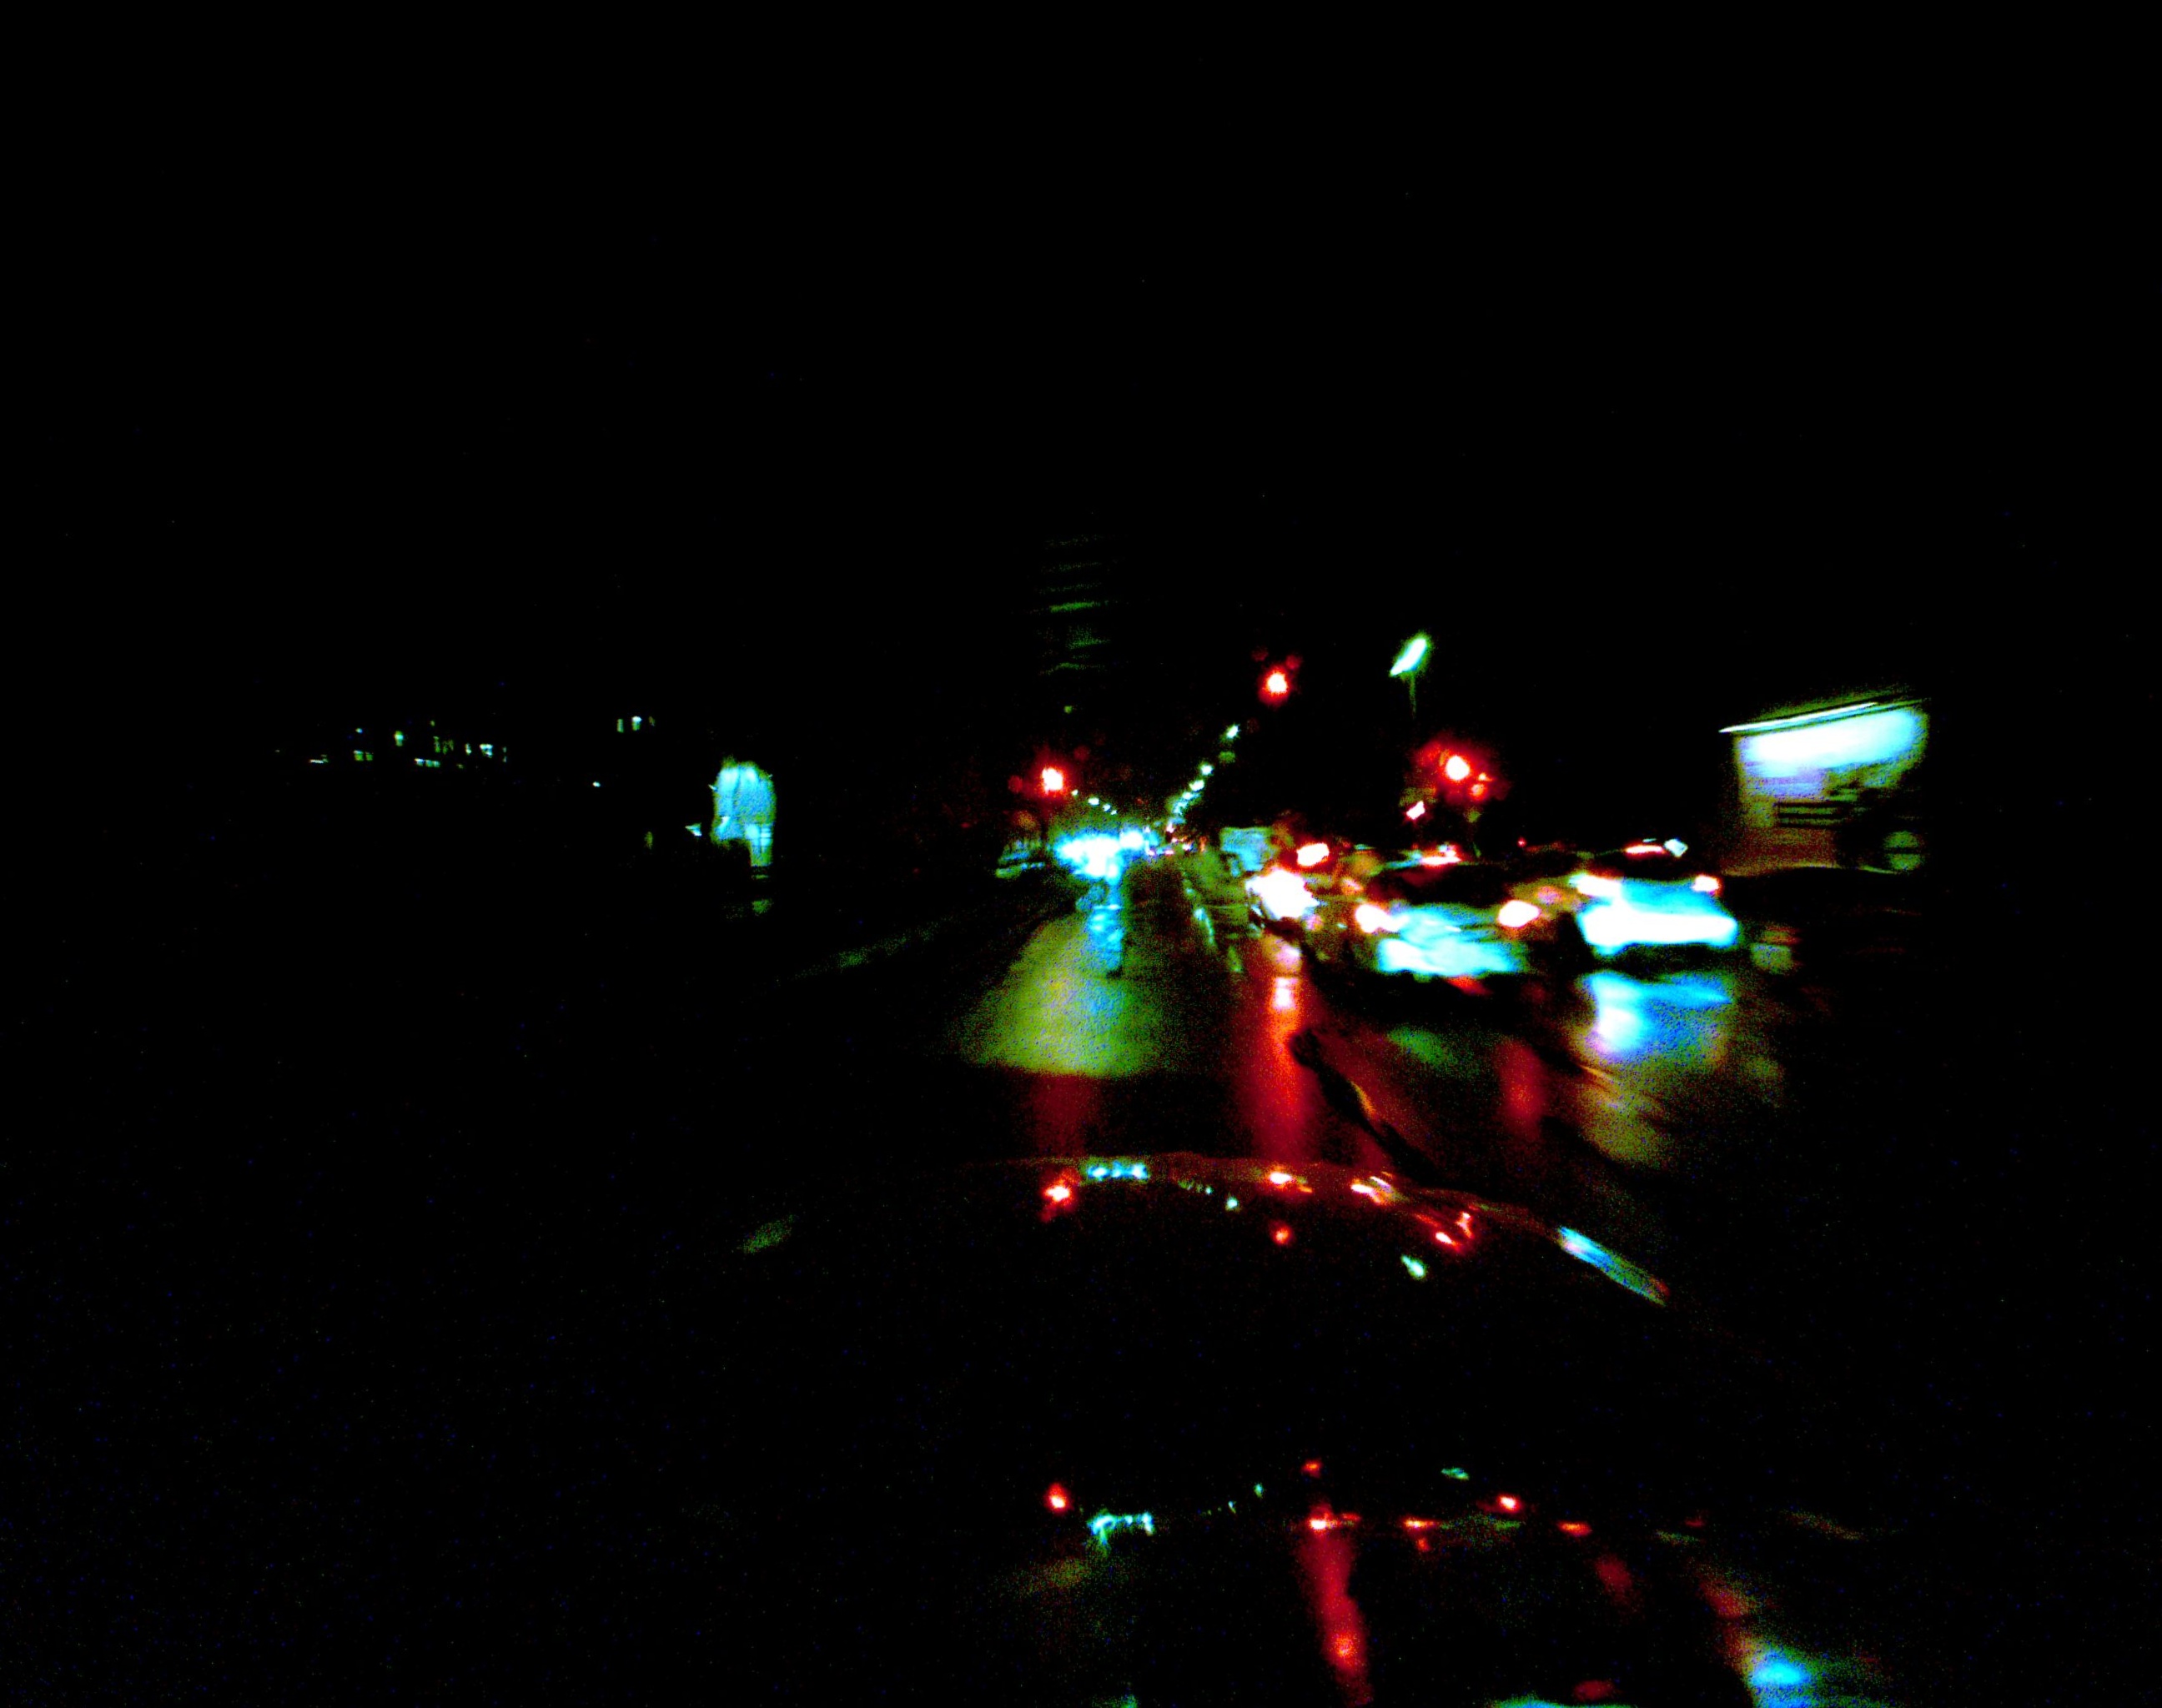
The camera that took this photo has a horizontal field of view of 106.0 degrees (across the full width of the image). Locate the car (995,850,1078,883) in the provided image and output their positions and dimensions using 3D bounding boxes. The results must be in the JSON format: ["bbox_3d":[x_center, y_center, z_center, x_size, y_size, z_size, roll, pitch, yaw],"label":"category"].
[{"bbox_3d":[-2.445,0.668,43.856,4.371,1.649,1.848,-1,0,40],"label":"car"}]

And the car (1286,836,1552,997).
[{"bbox_3d":[3.619,0.568,9.566,1.711,1.446,4.169,-2,0,5],"label":"car"}]

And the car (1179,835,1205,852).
[{"bbox_3d":[10.502,-0.965,77.135,2.082,1.545,4.311,-1,0,3],"label":"car"}]

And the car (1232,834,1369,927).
[{"bbox_3d":[4.024,0.425,15.621,1.712,1.446,4.389,-3,0,5],"label":"car"}]

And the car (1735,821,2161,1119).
[{"bbox_3d":[6.343,0.559,4.611,1.712,1.487,4.793,-2,0,5],"label":"car"}]

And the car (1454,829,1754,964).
[{"bbox_3d":[6.851,0.473,11.284,1.712,1.446,4.168,-3,0,5],"label":"car"}]

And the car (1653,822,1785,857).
[{"bbox_3d":[31.531,-0.697,40.373,4.817,1.590,1.860,-1,0,12],"label":"car"}]

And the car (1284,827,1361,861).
[{"bbox_3d":[15.311,-0.622,51.592,4.252,2.013,2.058,-1,0,29],"label":"car"}]

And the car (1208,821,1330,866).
[{"bbox_3d":[8.110,-0.427,35.225,4.777,1.769,1.848,-1,0,28],"label":"car"}]

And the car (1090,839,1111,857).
[{"bbox_3d":[1.923,-0.576,80.119,1.896,1.618,4.512,-1,0,-1],"label":"car"}]

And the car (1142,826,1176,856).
[{"bbox_3d":[6.068,-0.968,63.907,2.431,2.194,5.083,-1,0,3],"label":"car"}]

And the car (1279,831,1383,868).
[{"bbox_3d":[11.716,-0.184,38.236,4.325,1.623,1.849,-1,0,33],"label":"car"}]
